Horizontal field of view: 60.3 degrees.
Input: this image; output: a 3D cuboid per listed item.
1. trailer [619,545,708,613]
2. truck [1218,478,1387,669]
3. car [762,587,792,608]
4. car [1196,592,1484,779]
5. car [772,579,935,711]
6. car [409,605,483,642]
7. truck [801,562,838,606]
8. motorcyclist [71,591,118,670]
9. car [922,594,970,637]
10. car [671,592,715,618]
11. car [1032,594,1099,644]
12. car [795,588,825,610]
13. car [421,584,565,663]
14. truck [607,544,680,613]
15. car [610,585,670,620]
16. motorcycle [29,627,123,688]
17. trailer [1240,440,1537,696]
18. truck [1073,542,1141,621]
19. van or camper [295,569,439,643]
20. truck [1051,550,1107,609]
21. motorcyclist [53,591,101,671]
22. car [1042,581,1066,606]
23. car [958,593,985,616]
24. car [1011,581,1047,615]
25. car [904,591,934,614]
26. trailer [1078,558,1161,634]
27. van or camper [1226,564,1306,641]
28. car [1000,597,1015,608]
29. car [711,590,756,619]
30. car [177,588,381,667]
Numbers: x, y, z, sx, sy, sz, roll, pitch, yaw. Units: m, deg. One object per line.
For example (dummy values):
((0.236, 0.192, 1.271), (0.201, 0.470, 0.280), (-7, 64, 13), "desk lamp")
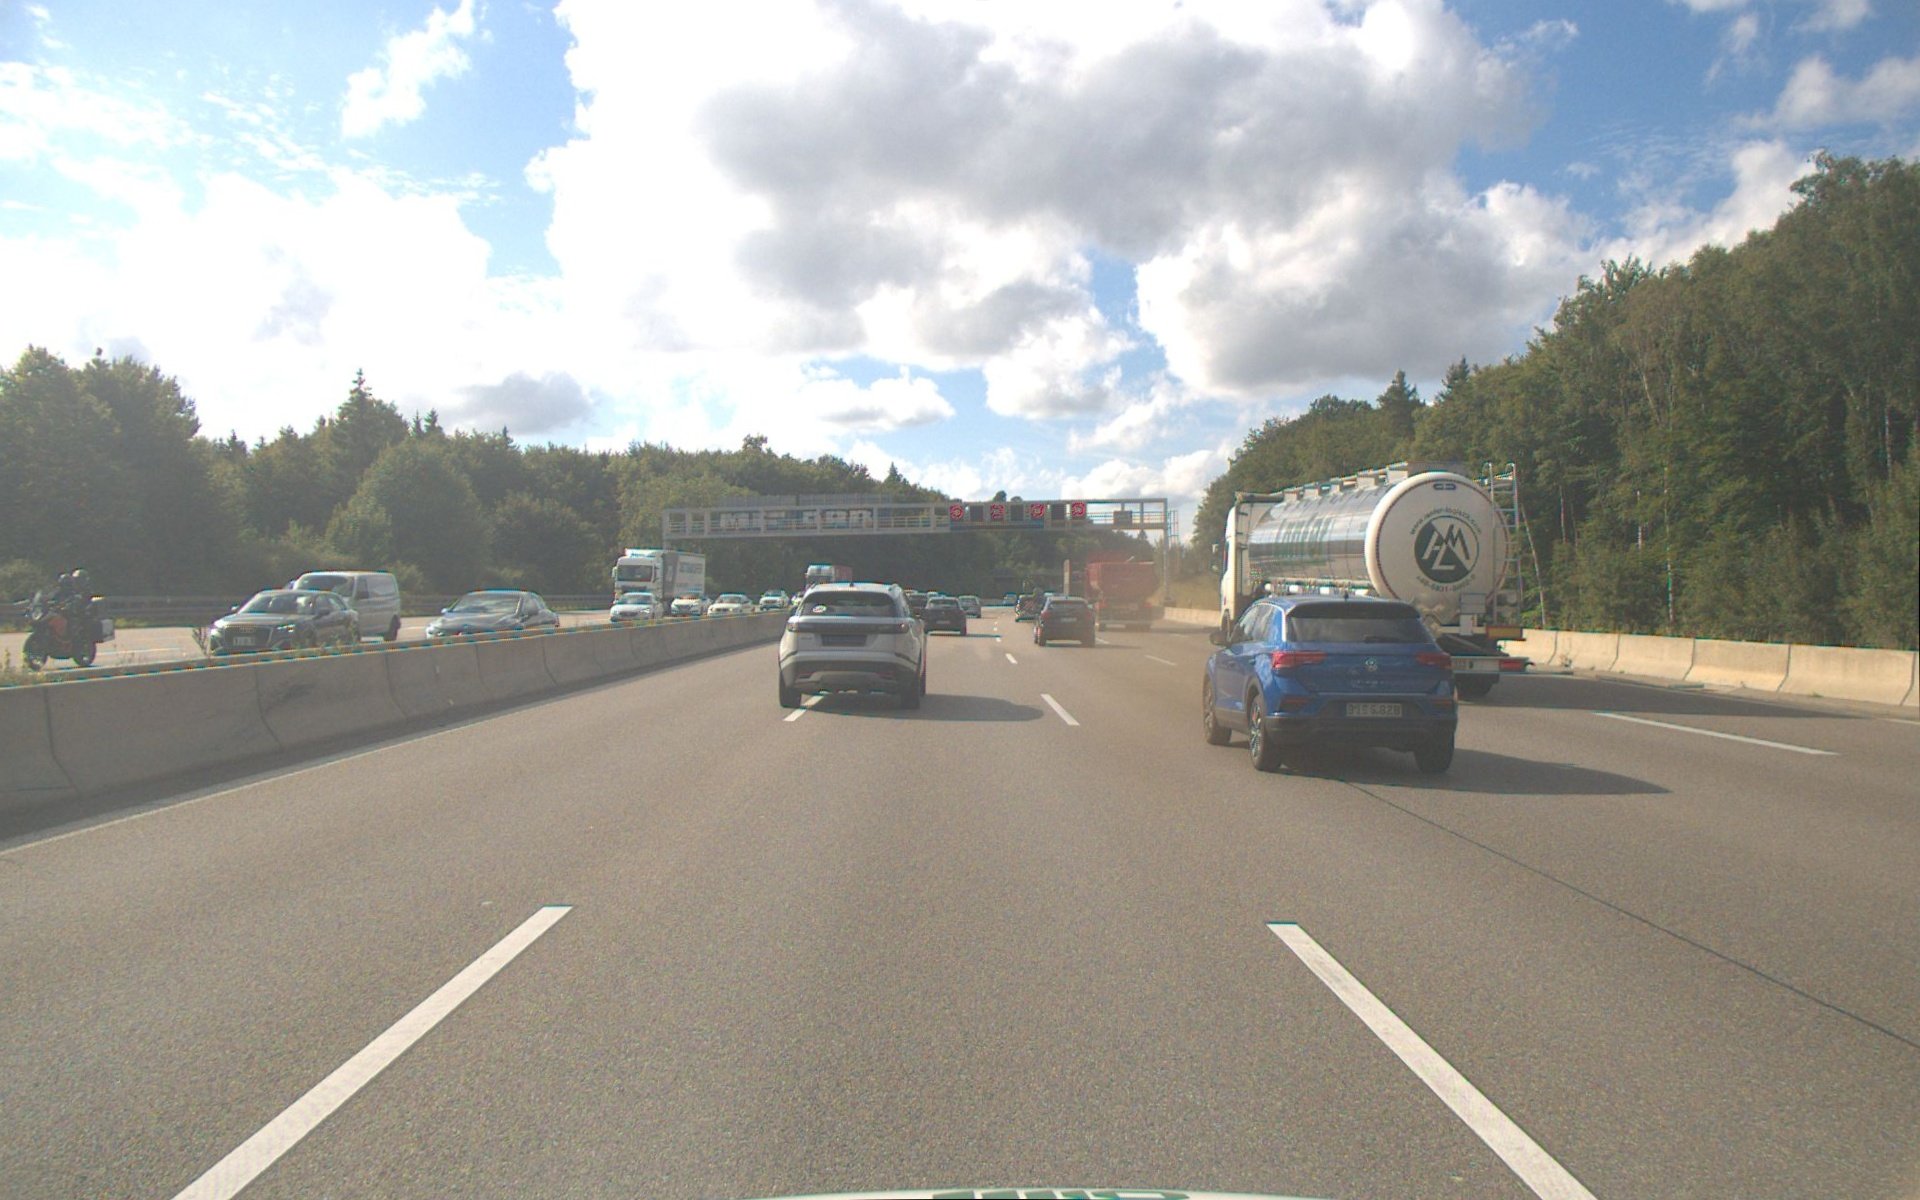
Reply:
((-19.526, -1.335, 109.945), (3.249, 4.178, 14.156), (0, 0, 1), "trailer")
((7.489, -0.562, 36.921), (2.594, 3.890, 6.082), (0, 0, 1), "truck")
((-14.981, -0.200, 135.345), (1.756, 1.646, 5.046), (1, 0, 1), "car")
((3.501, 0.705, 16.076), (1.737, 1.557, 4.457), (0, 0, -1), "car")
((-1.402, 0.557, 23.713), (1.965, 1.644, 5.301), (1, 0, 0), "car")
((-20.897, 0.942, 67.407), (1.786, 1.419, 4.277), (0, 0, -1), "car")
((-13.661, -1.506, 160.895), (2.681, 4.178, 5.768), (0, 0, 4), "truck")
((-16.731, 0.580, 31.985), (0.590, 1.502, 0.532), (1, -1, 1), "motorcyclist")
((-0.533, 0.580, 63.977), (1.785, 1.573, 4.000), (0, 0, 0), "car")
((-15.835, 0.289, 98.340), (1.774, 1.478, 4.801), (1, 0, 1), "car")
((3.272, 0.567, 52.079), (1.785, 1.483, 3.999), (0, 0, -1), "car")
((-11.632, -0.077, 128.217), (1.673, 1.622, 4.945), (0, 0, 2), "car")
((-9.929, 0.456, 35.526), (1.825, 1.579, 4.661), (0, 0, -1), "car")
((-19.626, -1.313, 102.961), (3.249, 4.178, 6.225), (0, 0, 0), "truck")
((-13.511, 0.103, 70.055), (1.733, 1.419, 4.690), (0, 0, -1), "car")
((-16.740, 1.074, 31.382), (0.597, 1.058, 2.175), (0, 0, 1), "motorcycle")
((7.420, -0.513, 30.717), (2.594, 3.833, 11.861), (0, 0, 1), "trailer")
((7.260, -0.908, 82.408), (2.655, 3.783, 5.816), (1, 0, -2), "truck")
((-16.835, 0.146, 47.305), (1.952, 1.971, 5.459), (1, 0, 2), "van or camper")
((8.425, -1.410, 117.989), (3.055, 4.003, 10.409), (0, 0, -1), "truck")
((-16.745, 0.586, 31.376), (0.590, 1.502, 0.532), (1, -1, 1), "motorcyclist")
((7.418, -0.487, 130.980), (1.854, 1.889, 4.102), (1, 0, 3), "car")
((0.770, 0.307, 111.980), (1.785, 1.483, 4.000), (1, 0, 1), "car")
((4.052, -0.120, 97.383), (1.855, 1.889, 4.099), (1, 0, -1), "car")
((-2.776, 0.147, 112.148), (1.902, 1.483, 4.000), (-1, 0, 0), "car")
((7.364, -0.240, 77.519), (2.655, 3.287, 9.730), (1, 1, -1), "trailer")
((9.697, 0.070, 52.732), (1.784, 2.348, 4.940), (0, 0, 2), "van or camper")
((6.810, 0.337, 238.244), (2.033, 1.483, 4.002), (-1, 0, 3), "car")
((-11.695, 0.225, 85.708), (1.647, 1.421, 4.715), (0, 0, 0), "car")
((-13.801, 0.511, 33.859), (2.126, 1.496, 4.786), (0, 0, 1), "car")
